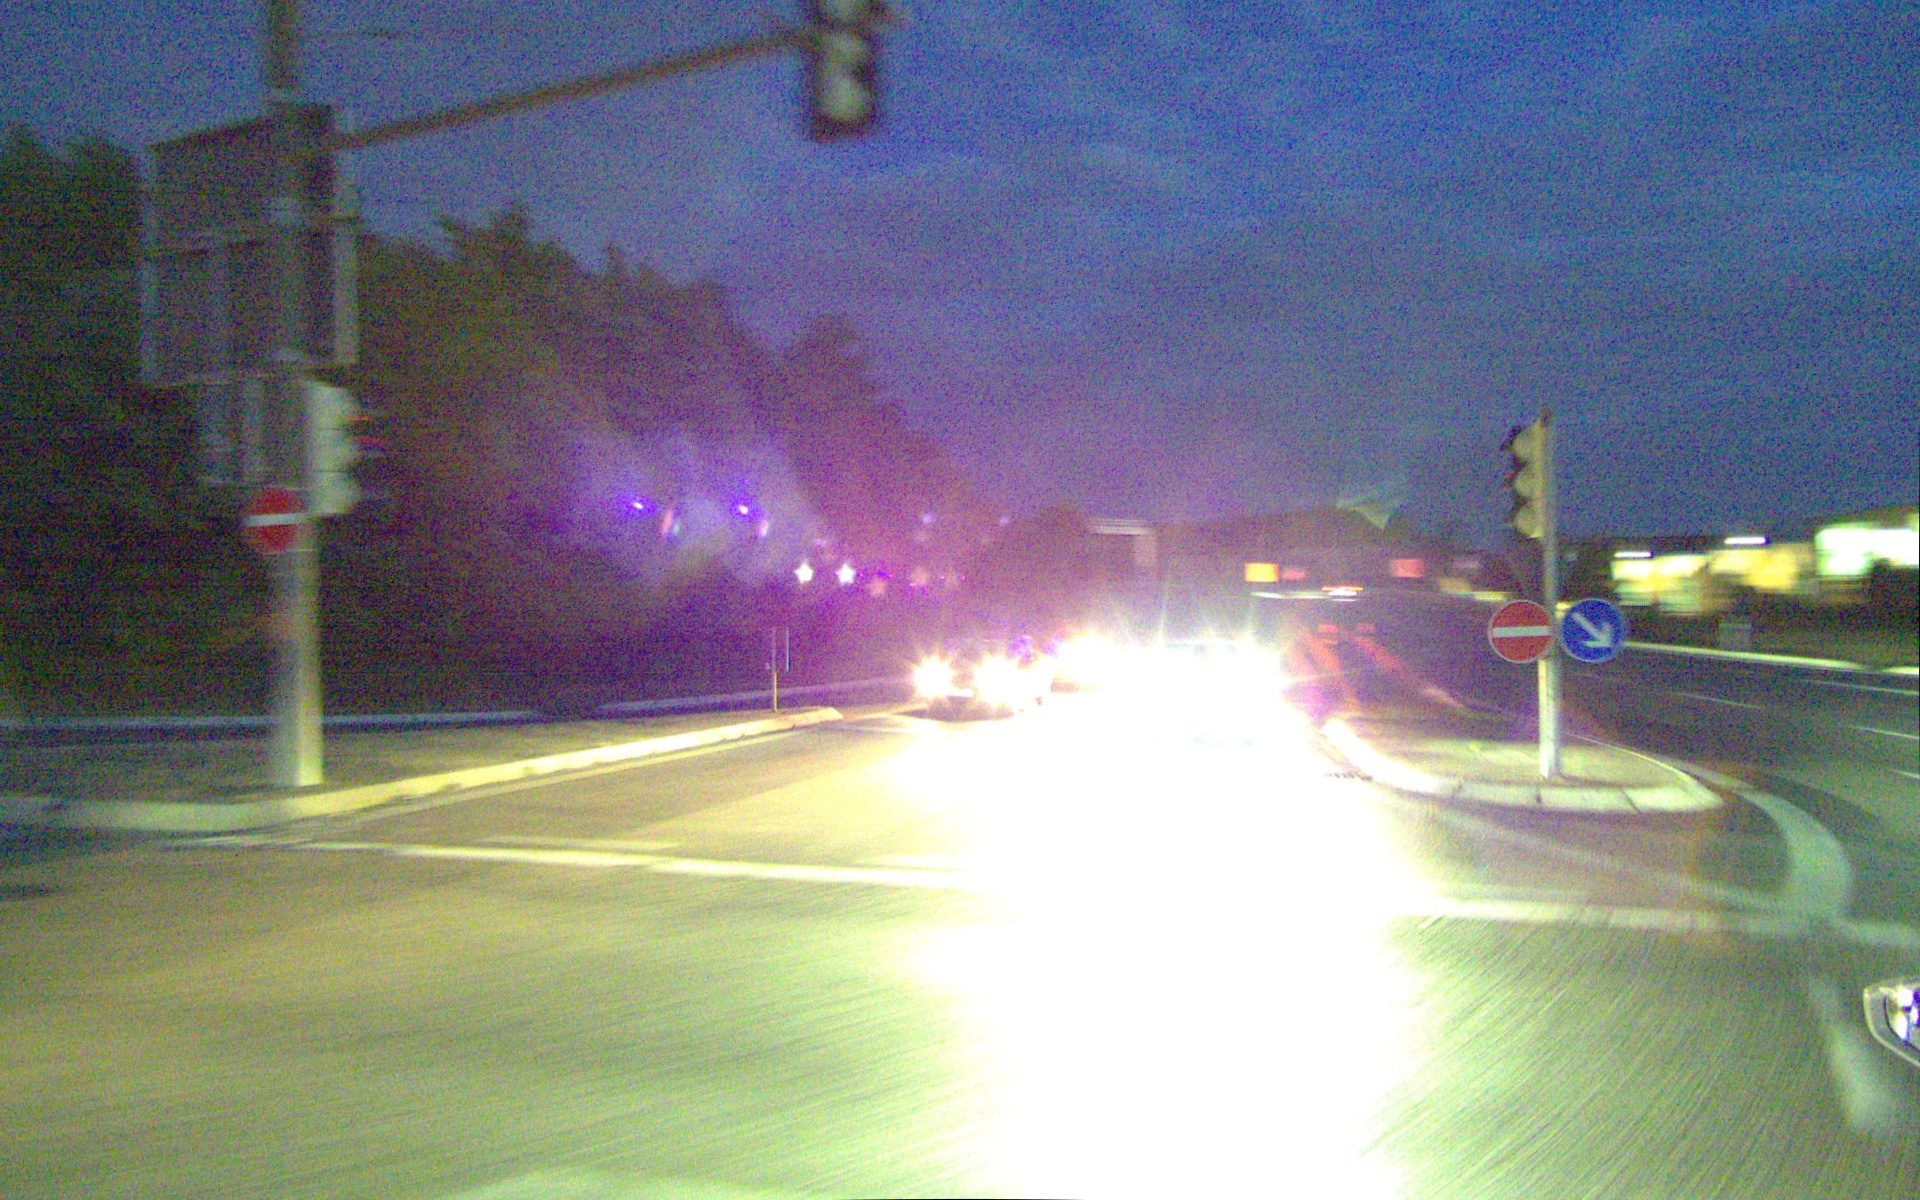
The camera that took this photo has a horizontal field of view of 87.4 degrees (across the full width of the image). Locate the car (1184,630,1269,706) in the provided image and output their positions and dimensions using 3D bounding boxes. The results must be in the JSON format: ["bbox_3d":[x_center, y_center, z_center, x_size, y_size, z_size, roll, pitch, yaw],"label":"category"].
[{"bbox_3d":[6.270,1.520,23.345,1.681,1.463,3.985,-1,0,18],"label":"car"}]

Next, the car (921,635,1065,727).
[{"bbox_3d":[0.748,1.455,19.209,1.725,1.480,4.001,0,-1,18],"label":"car"}]

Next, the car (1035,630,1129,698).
[{"bbox_3d":[3.181,1.580,25.580,1.655,1.479,3.813,-2,-1,18],"label":"car"}]

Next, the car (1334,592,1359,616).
[{"bbox_3d":[33.658,0.321,87.510,1.961,2.041,3.998,0,1,22],"label":"car"}]

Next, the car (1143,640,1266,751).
[{"bbox_3d":[3.938,1.390,15.868,1.670,1.494,3.872,0,-2,16],"label":"car"}]
